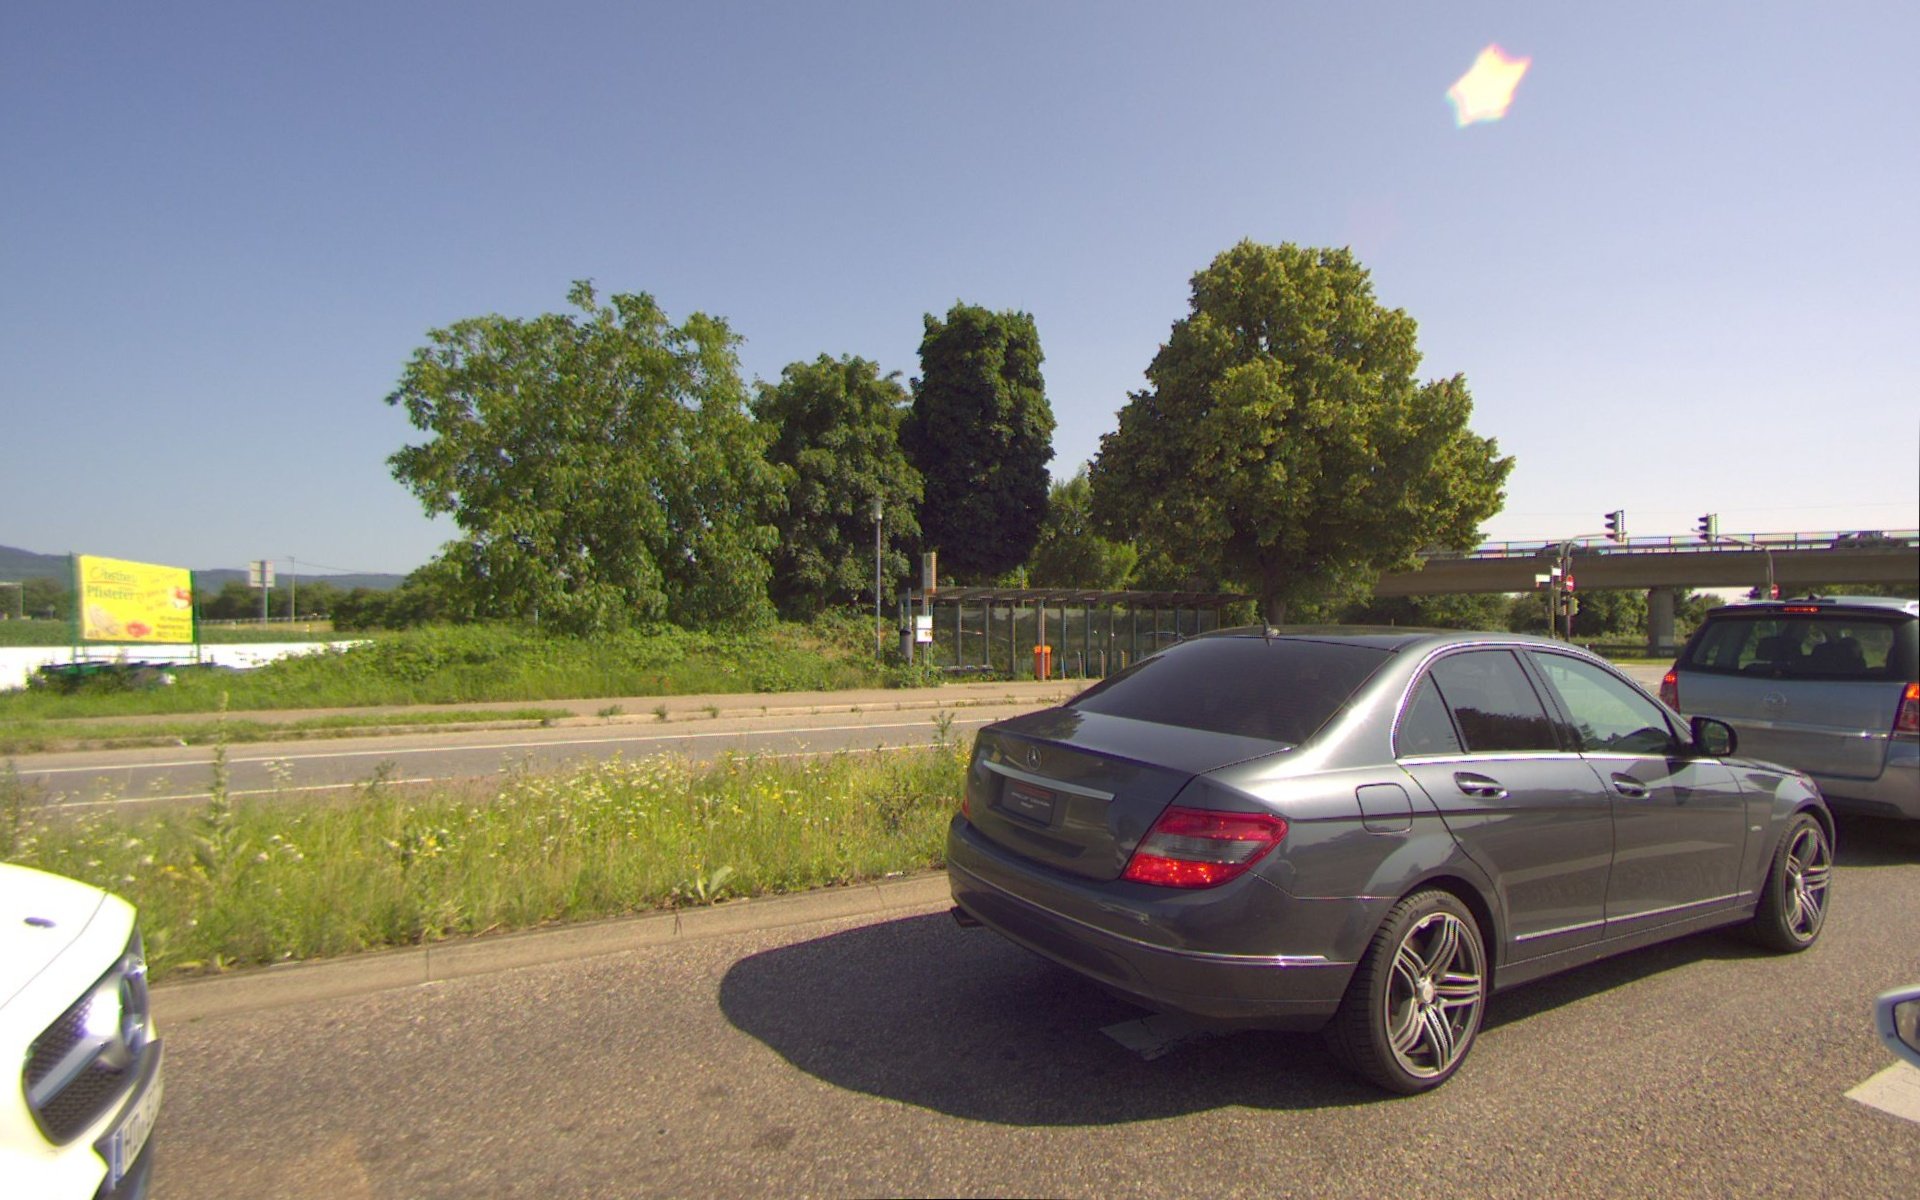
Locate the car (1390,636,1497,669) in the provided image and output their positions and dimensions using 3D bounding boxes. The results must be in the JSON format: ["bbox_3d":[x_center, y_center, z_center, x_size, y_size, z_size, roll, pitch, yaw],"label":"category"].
[{"bbox_3d":[21.935,2.359,45.633,4.066,1.443,1.862,-2,-2,41],"label":"car"}]

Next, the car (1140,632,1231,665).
[{"bbox_3d":[11.503,2.451,51.243,4.272,1.616,1.650,-1,-2,25],"label":"car"}]

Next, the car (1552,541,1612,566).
[{"bbox_3d":[41.699,-3.122,67.418,3.133,1.505,1.325,0,-1,10],"label":"car"}]

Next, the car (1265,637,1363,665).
[{"bbox_3d":[17.165,2.441,48.771,4.279,1.297,1.647,-1,-2,32],"label":"car"}]

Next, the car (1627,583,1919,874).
[{"bbox_3d":[7.098,0.771,7.566,4.305,1.695,1.733,1,0,-30],"label":"car"}]

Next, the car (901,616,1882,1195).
[{"bbox_3d":[2.044,0.816,4.384,4.303,1.429,1.706,1,0,-30],"label":"car"}]

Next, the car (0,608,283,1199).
[{"bbox_3d":[-3.574,0.717,1.066,4.587,1.444,1.794,1,0,-31],"label":"car"}]

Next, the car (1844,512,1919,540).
[{"bbox_3d":[59.788,-4.748,64.561,3.919,1.506,2.001,2,0,10],"label":"car"}]
